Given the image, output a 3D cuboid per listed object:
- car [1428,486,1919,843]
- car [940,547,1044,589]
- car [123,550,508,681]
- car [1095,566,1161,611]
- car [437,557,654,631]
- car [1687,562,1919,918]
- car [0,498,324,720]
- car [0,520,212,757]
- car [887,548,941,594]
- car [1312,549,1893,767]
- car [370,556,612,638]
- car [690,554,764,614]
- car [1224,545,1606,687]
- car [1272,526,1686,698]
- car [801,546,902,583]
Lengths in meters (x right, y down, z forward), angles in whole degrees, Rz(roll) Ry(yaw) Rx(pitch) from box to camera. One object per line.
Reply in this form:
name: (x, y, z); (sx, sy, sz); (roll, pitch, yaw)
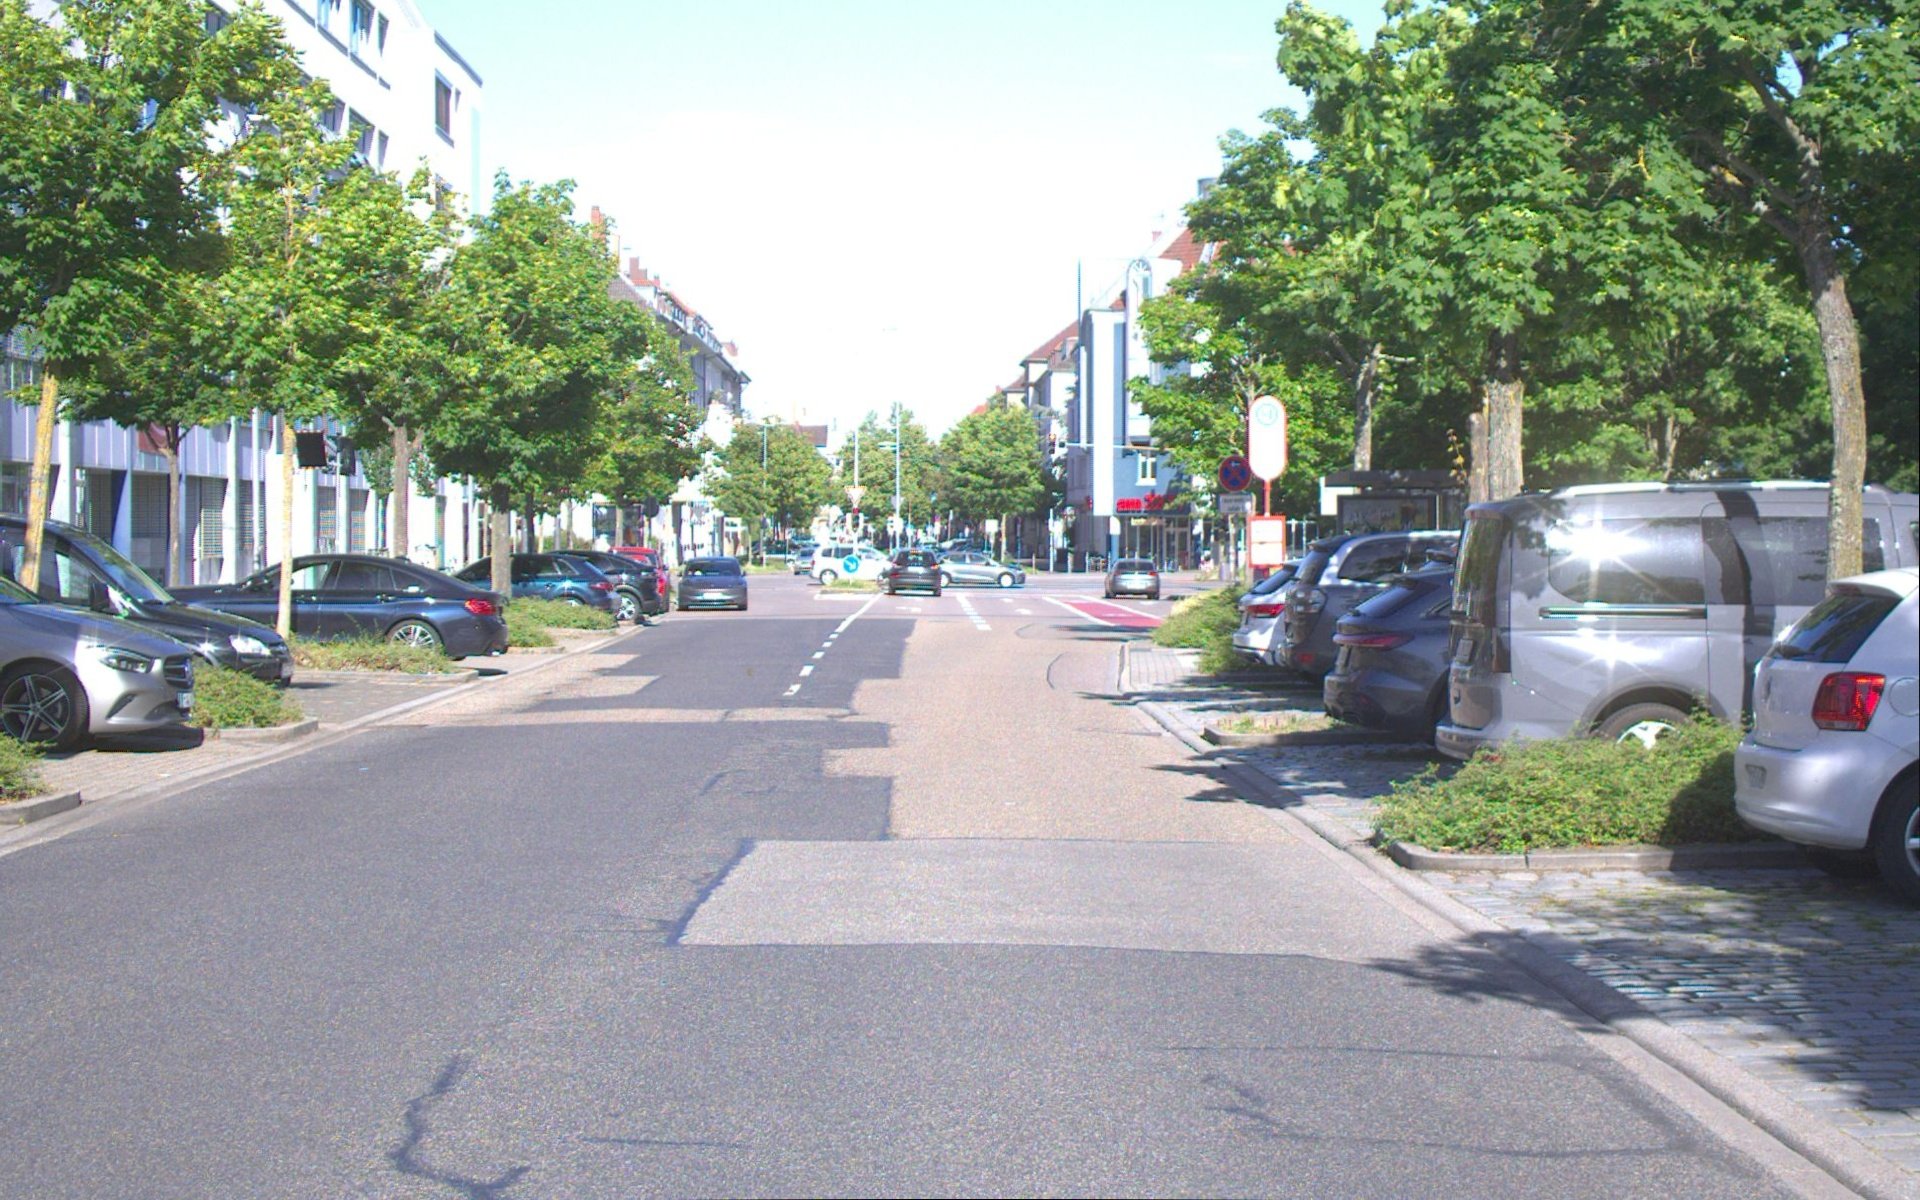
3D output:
car: (4.694, 0.312, 18.977); (3.987, 1.873, 1.683); (0, 2, 0)
car: (1.264, -1.281, 137.053); (3.986, 1.556, 2.001); (0, 2, -5)
car: (-7.644, 0.163, 41.102); (4.330, 1.469, 1.818); (0, 2, -4)
car: (6.009, -0.434, 123.333); (1.989, 1.469, 4.111); (0, 2, -3)
car: (-8.635, -0.135, 71.842); (4.331, 1.469, 1.818); (0, 2, -1)
car: (5.263, 0.557, 15.020); (3.765, 1.454, 1.818); (0, 1, -1)
car: (-7.860, 0.054, 29.790); (4.331, 1.855, 1.818); (0, 2, 1)
car: (-7.785, 0.261, 25.188); (4.261, 1.660, 1.599); (0, 2, -1)
car: (-1.587, -1.024, 119.357); (1.812, 1.469, 4.111); (0, 2, 0)
car: (4.536, 0.389, 24.735); (3.913, 1.469, 1.795); (0, 2, 4)
car: (-8.841, -0.064, 65.048); (4.331, 1.469, 1.818); (0, 2, -1)
car: (-6.234, -0.445, 92.300); (1.811, 1.469, 4.111); (0, 2, -2)
car: (4.781, 0.178, 36.550); (3.913, 1.469, 1.757); (0, 0, 4)
car: (5.095, 0.098, 34.198); (3.913, 1.636, 1.877); (0, 2, 4)
car: (-4.462, -1.477, 141.353); (4.096, 1.469, 1.818); (0, 2, -1)
